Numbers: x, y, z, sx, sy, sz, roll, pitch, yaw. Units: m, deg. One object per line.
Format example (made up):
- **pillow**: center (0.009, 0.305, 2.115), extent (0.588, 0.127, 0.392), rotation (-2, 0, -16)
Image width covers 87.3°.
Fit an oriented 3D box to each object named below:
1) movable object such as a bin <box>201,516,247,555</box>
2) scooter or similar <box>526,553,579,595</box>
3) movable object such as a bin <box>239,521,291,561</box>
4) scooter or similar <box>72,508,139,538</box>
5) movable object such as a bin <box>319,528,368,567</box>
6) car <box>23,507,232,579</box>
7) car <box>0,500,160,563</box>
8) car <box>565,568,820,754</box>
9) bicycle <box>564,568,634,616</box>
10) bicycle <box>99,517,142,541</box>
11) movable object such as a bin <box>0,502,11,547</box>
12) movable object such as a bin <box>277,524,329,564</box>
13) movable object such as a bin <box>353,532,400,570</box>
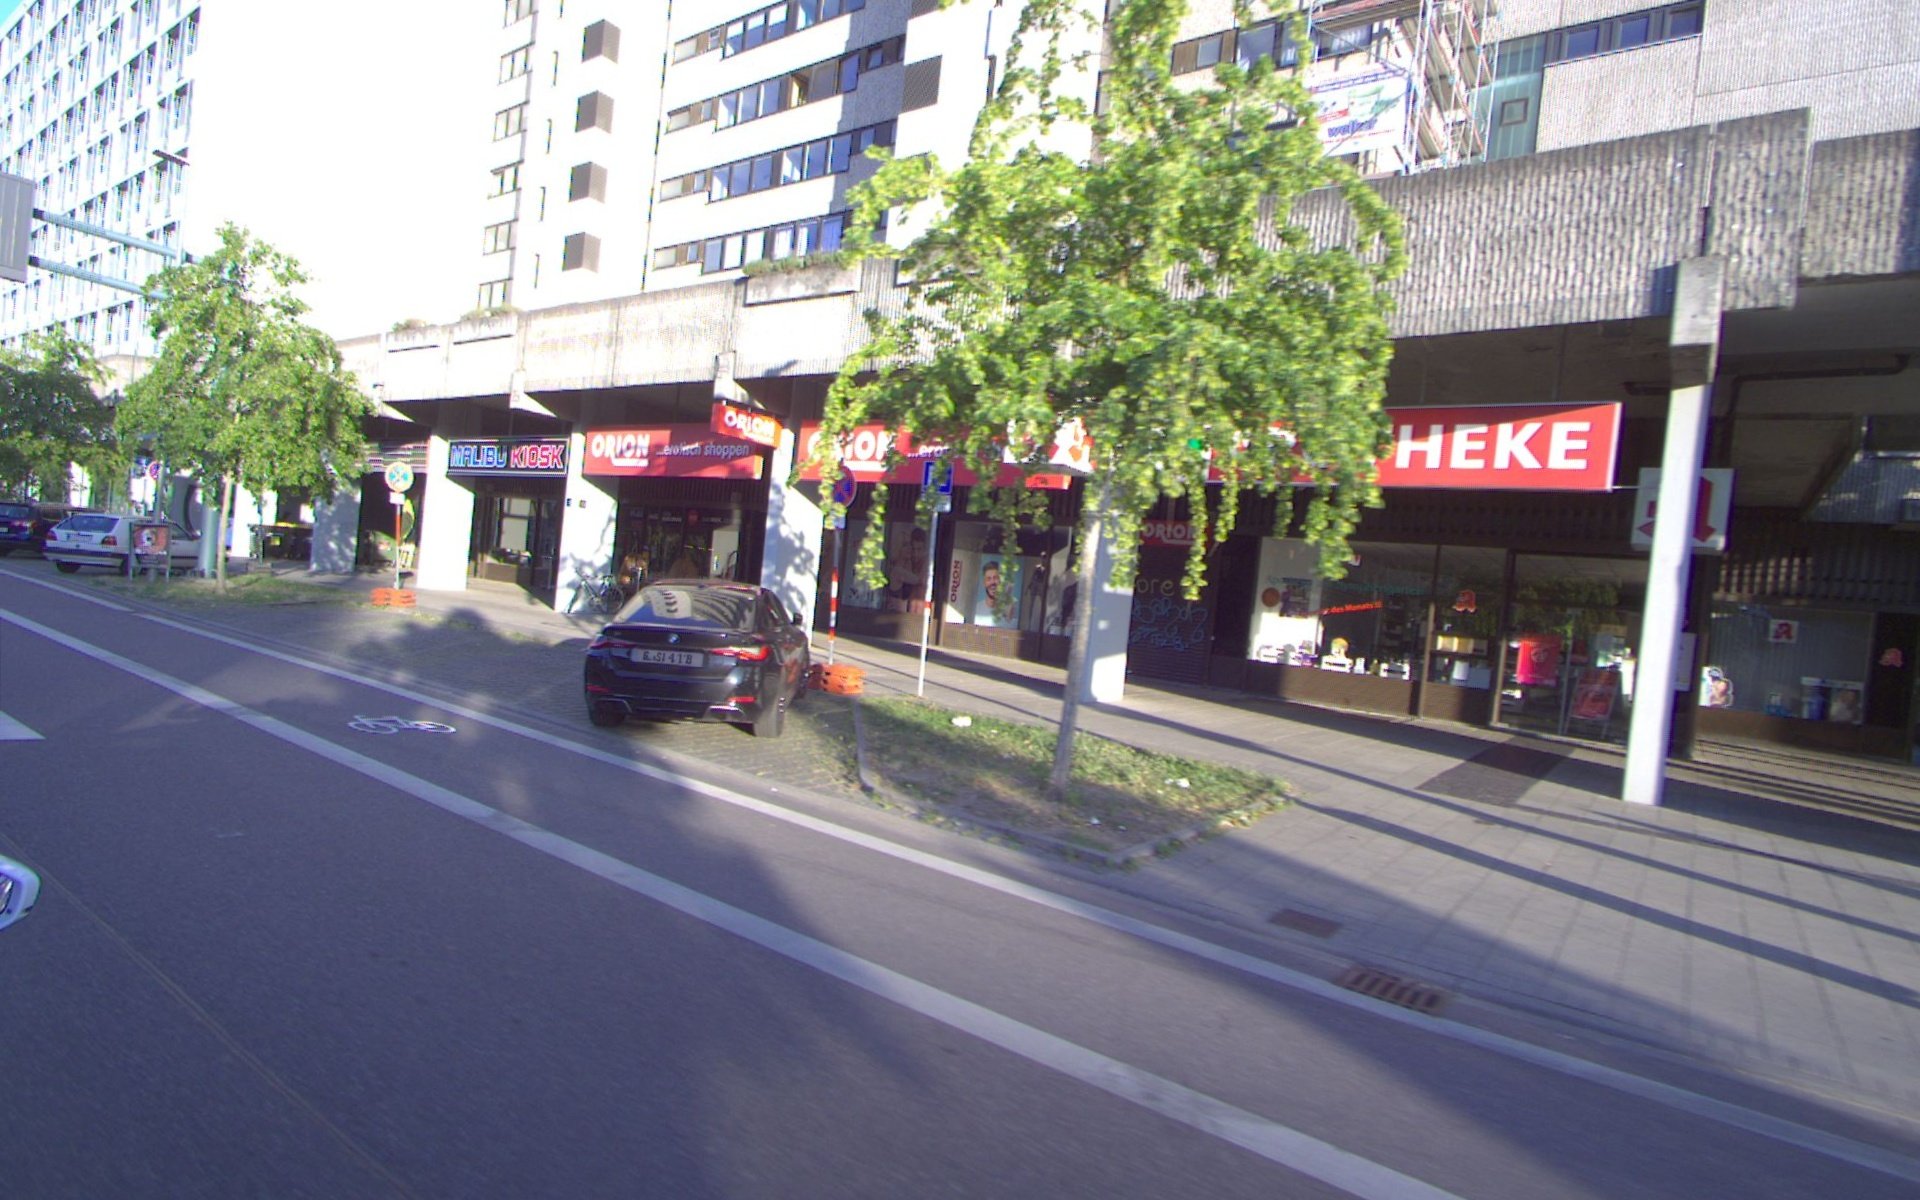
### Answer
- **movable object such as a bin**: center (-28.905, -2.534, 39.508), extent (1.263, 1.348, 1.104), rotation (7, 3, 35)
- **scooter or similar**: center (-13.340, -0.850, 32.879), extent (1.798, 1.174, 0.402), rotation (7, -1, 27)
- **movable object such as a bin**: center (-25.445, -2.155, 36.848), extent (1.247, 1.341, 1.180), rotation (7, 4, 35)
- **scooter or similar**: center (-41.546, -3.737, 48.967), extent (0.611, 1.198, 2.371), rotation (7, 2, 35)
- **movable object such as a bin**: center (-24.014, -2.030, 39.192), extent (1.107, 1.330, 1.181), rotation (7, 1, 35)
- **car**: center (-19.790, -1.301, 24.166), extent (1.719, 1.435, 3.986), rotation (5, 2, -1)
- **car**: center (-24.899, -1.871, 27.844), extent (1.904, 1.528, 4.663), rotation (5, 2, -3)
- **car**: center (-2.650, 0.474, 11.089), extent (1.781, 1.472, 4.600), rotation (5, 1, -4)
- **bicycle**: center (-8.593, -0.176, 24.010), extent (0.426, 1.063, 1.571), rotation (7, 3, 35)
- **bicycle**: center (-38.990, -3.300, 46.753), extent (0.450, 0.902, 1.421), rotation (7, 1, 35)
- **movable object such as a bin**: center (-29.456, -2.314, 30.160), extent (1.338, 1.319, 1.085), rotation (6, 3, 30)
- **movable object such as a bin**: center (-24.787, -2.105, 37.942), extent (1.284, 1.315, 1.181), rotation (7, 1, 35)
- **movable object such as a bin**: center (-23.331, -1.948, 40.216), extent (1.071, 1.330, 1.181), rotation (7, 1, 35)
